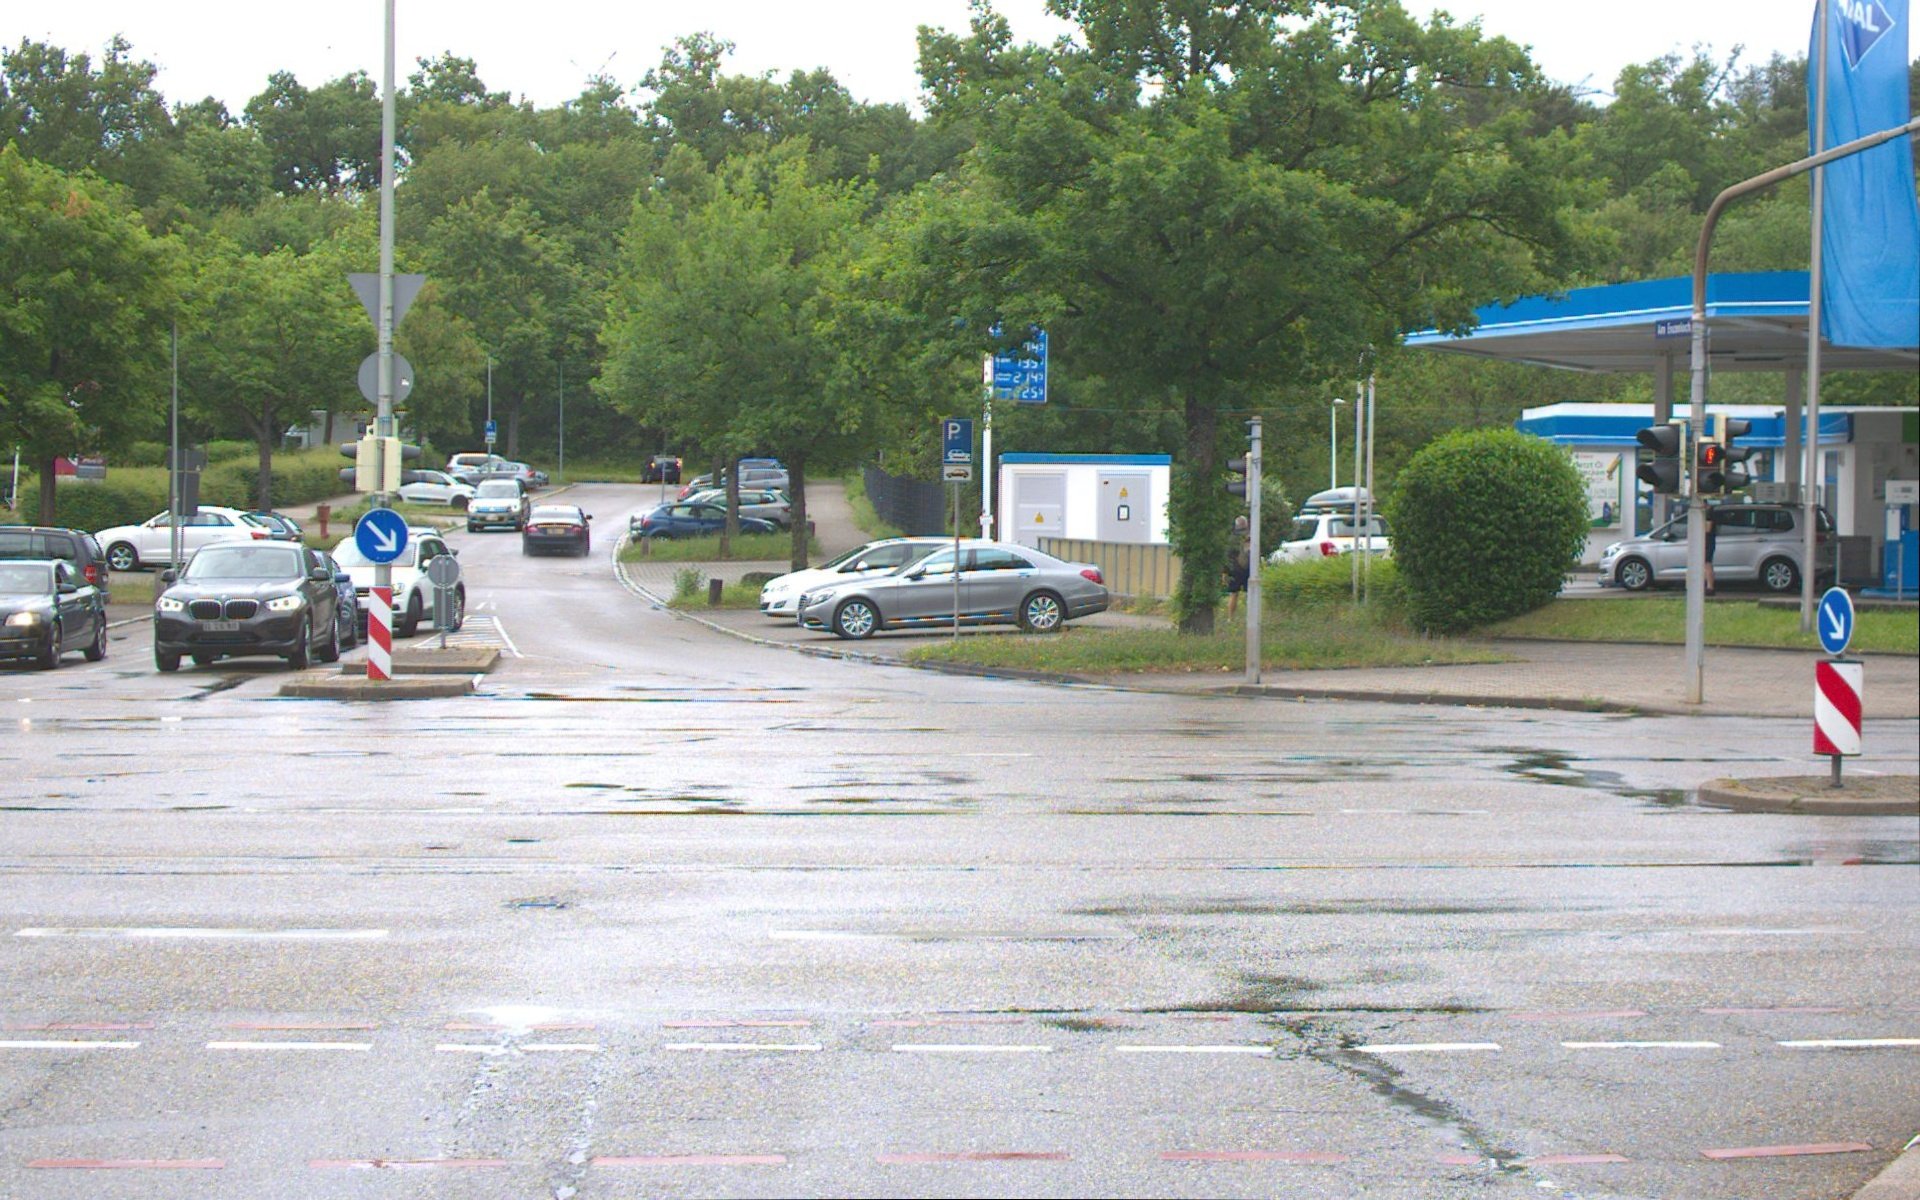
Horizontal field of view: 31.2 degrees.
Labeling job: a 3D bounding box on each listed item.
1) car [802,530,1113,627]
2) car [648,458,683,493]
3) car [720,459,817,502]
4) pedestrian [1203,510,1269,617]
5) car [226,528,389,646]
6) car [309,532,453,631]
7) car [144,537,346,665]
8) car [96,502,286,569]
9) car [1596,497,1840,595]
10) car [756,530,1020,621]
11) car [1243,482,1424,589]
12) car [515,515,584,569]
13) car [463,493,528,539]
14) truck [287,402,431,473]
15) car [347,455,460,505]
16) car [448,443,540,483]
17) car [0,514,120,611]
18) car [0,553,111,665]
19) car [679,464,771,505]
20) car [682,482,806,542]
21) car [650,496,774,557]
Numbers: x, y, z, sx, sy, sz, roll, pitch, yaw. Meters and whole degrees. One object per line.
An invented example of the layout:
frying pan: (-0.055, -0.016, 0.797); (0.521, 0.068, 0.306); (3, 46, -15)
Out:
car: (-0.074, -0.355, 56.480); (4.885, 1.543, 2.000); (0, 1, -7)
car: (-15.707, -6.622, 183.213); (1.804, 1.733, 4.001); (0, 1, -5)
car: (-8.053, -5.005, 144.301); (3.986, 1.733, 1.811); (0, 1, -6)
pedestrian: (4.334, -0.576, 54.043); (0.808, 1.656, 0.887); (0, 0, -12)
car: (-9.335, -0.193, 49.490); (1.795, 1.627, 4.552); (0, 0, -4)
car: (-9.331, -0.310, 55.693); (1.895, 1.548, 4.001); (0, 1, -4)
car: (-9.086, -0.011, 44.002); (1.895, 1.548, 4.593); (0, 1, -4)
car: (-18.588, -1.555, 83.207); (4.271, 1.604, 1.685); (0, 1, -3)
car: (14.333, -1.008, 65.019); (4.121, 1.801, 1.943); (0, 0, 30)
car: (-1.322, -0.443, 61.733); (4.571, 1.583, 1.930); (0, 1, -7)
car: (6.516, -1.121, 60.380); (1.808, 1.791, 3.701); (1, 1, -17)
car: (-11.551, -1.624, 96.952); (1.807, 1.477, 3.752); (0, 1, -5)
car: (-15.408, -2.782, 114.133); (1.697, 1.451, 3.673); (0, 0, -1)
truck: (-33.187, -8.964, 189.962); (7.367, 3.847, 2.778); (0, 1, 5)
car: (-20.332, -4.386, 125.779); (3.986, 1.788, 1.857); (0, 0, -7)
car: (-21.214, -6.235, 156.562); (3.986, 1.788, 1.856); (0, 0, -2)
car: (-17.130, -0.684, 62.042); (3.648, 1.718, 1.685); (0, 1, -7)
car: (-12.457, 0.089, 45.269); (1.782, 1.399, 4.001); (0, 1, -4)
car: (-10.400, -5.105, 151.730); (3.986, 1.733, 1.811); (0, 1, -6)
car: (-6.567, -2.673, 104.293); (3.697, 1.744, 1.697); (1, 0, -5)
car: (-7.062, -2.086, 97.791); (3.459, 1.649, 1.616); (1, 0, -5)
